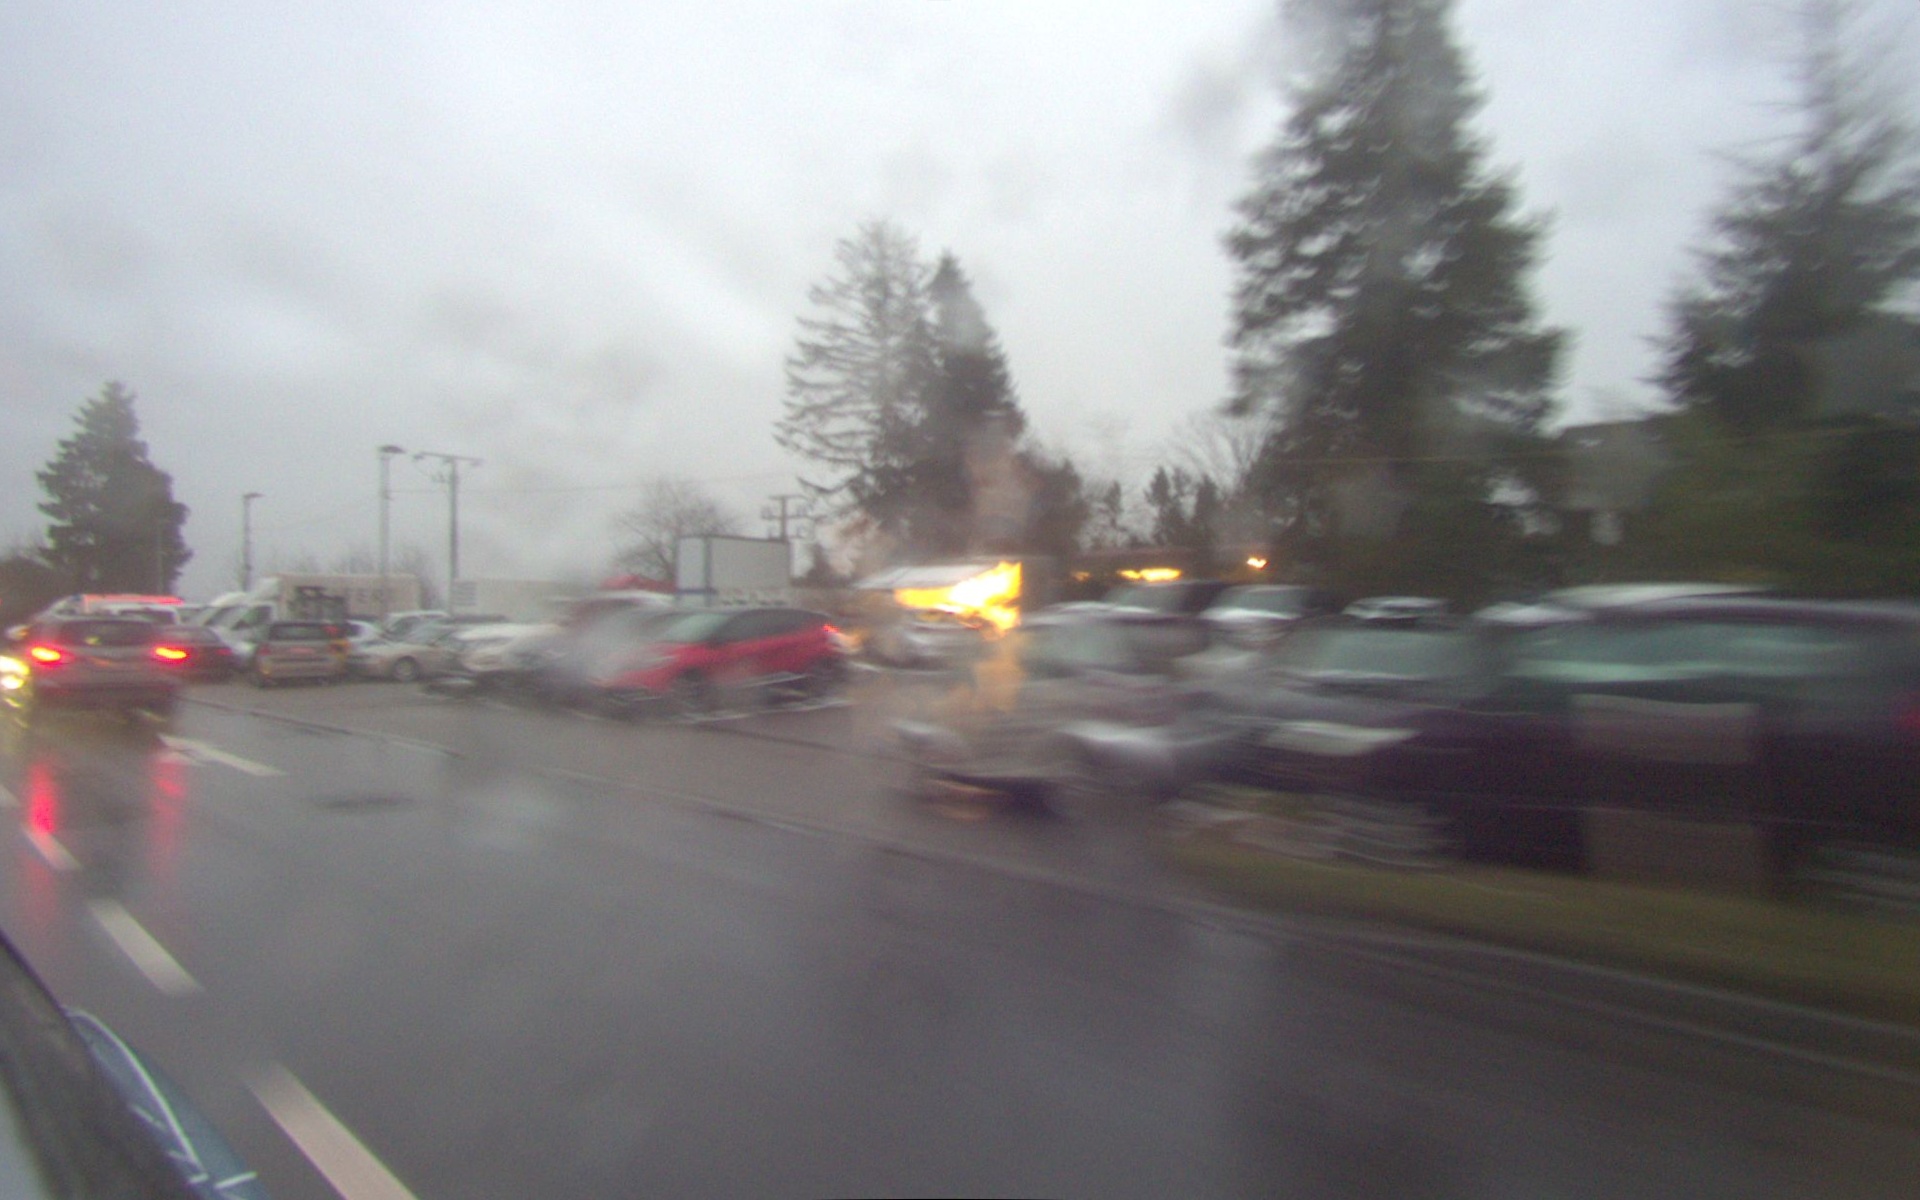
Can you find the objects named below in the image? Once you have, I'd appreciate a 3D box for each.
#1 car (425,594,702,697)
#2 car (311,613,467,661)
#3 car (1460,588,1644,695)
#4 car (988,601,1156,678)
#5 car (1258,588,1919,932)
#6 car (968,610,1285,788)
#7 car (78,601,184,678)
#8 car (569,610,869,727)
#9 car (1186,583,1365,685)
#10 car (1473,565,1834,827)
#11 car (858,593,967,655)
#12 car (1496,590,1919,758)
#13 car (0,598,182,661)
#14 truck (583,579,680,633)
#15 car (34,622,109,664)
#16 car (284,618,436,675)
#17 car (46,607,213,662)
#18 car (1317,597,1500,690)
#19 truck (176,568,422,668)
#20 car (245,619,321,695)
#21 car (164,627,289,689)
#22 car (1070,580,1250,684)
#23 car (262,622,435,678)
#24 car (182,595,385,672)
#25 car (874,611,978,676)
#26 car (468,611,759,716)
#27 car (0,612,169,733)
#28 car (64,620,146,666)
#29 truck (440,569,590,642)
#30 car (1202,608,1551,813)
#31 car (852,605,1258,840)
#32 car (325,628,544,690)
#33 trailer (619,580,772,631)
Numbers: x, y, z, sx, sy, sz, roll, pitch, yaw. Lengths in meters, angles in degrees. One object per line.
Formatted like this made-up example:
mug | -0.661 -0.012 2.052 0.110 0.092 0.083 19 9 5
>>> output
car | -7.292 0.754 19.029 2.007 1.689 4.492 -1 -1 37
car | -18.307 1.149 32.586 1.812 1.388 4.011 -1 -1 38
car | 10.077 0.615 17.101 1.958 1.588 3.945 -1 0 41
car | 2.587 0.824 22.633 1.789 1.522 3.945 -1 0 41
car | 3.770 0.686 5.579 3.741 1.431 1.664 -1 -1 43
car | 1.943 0.908 10.969 1.774 1.470 3.735 -1 0 39
car | -23.822 1.082 29.031 4.484 2.028 1.814 -1 -1 43
car | -3.633 0.955 15.840 1.825 1.509 4.289 -1 -1 42
car | 6.351 0.605 20.130 1.958 1.822 3.945 -1 -1 41
car | 6.021 0.630 8.579 1.942 1.662 4.003 -1 -1 43
car | -1.822 0.905 39.950 2.261 2.298 4.196 -1 -1 34
car | 8.159 0.695 10.894 3.871 1.501 1.814 -2 0 43
car | -38.684 1.335 45.070 2.175 2.652 6.091 -2 -3 41
truck | -17.321 0.300 53.621 2.223 2.717 4.682 -1 0 27
car | -32.412 1.583 36.902 3.741 1.431 1.633 -3 -3 42
car | -20.336 1.520 34.433 2.022 1.746 4.011 -1 -1 38
car | -34.692 1.473 42.401 2.057 2.167 5.092 -2 -3 41
car | 8.297 0.723 18.553 1.958 1.476 3.945 -1 0 41
truck | -22.749 0.602 35.163 2.332 3.166 6.790 -2 -1 40
car | -15.827 1.290 23.613 1.157 1.657 2.875 1 -2 -40
car | -18.875 1.440 25.965 4.253 1.331 1.554 1 -1 40
car | 4.244 0.599 21.108 1.958 1.937 3.945 -1 -1 41
car | -17.574 1.457 29.224 1.809 1.489 3.869 -1 -4 41
car | -25.270 1.203 38.059 2.193 2.658 5.972 -2 -2 39
car | -0.891 0.978 24.167 1.646 1.394 3.633 -1 -1 -15
car | -5.815 0.977 17.343 1.995 1.509 4.287 -1 -1 44
car | -13.178 0.988 14.947 3.998 1.546 1.586 -1 -3 41
car | -28.098 1.389 33.217 3.840 1.423 1.631 -2 -2 43
truck | -28.052 0.227 64.301 2.995 4.293 8.625 -1 1 30
car | 3.955 0.811 9.259 1.839 1.356 3.819 -1 0 41
car | 0.691 0.856 8.291 3.014 1.555 1.502 -1 -2 41
car | -13.502 1.477 26.273 1.781 1.448 4.708 -1 -3 39
trailer | -14.935 0.254 58.356 2.209 2.693 10.412 -1 0 27
